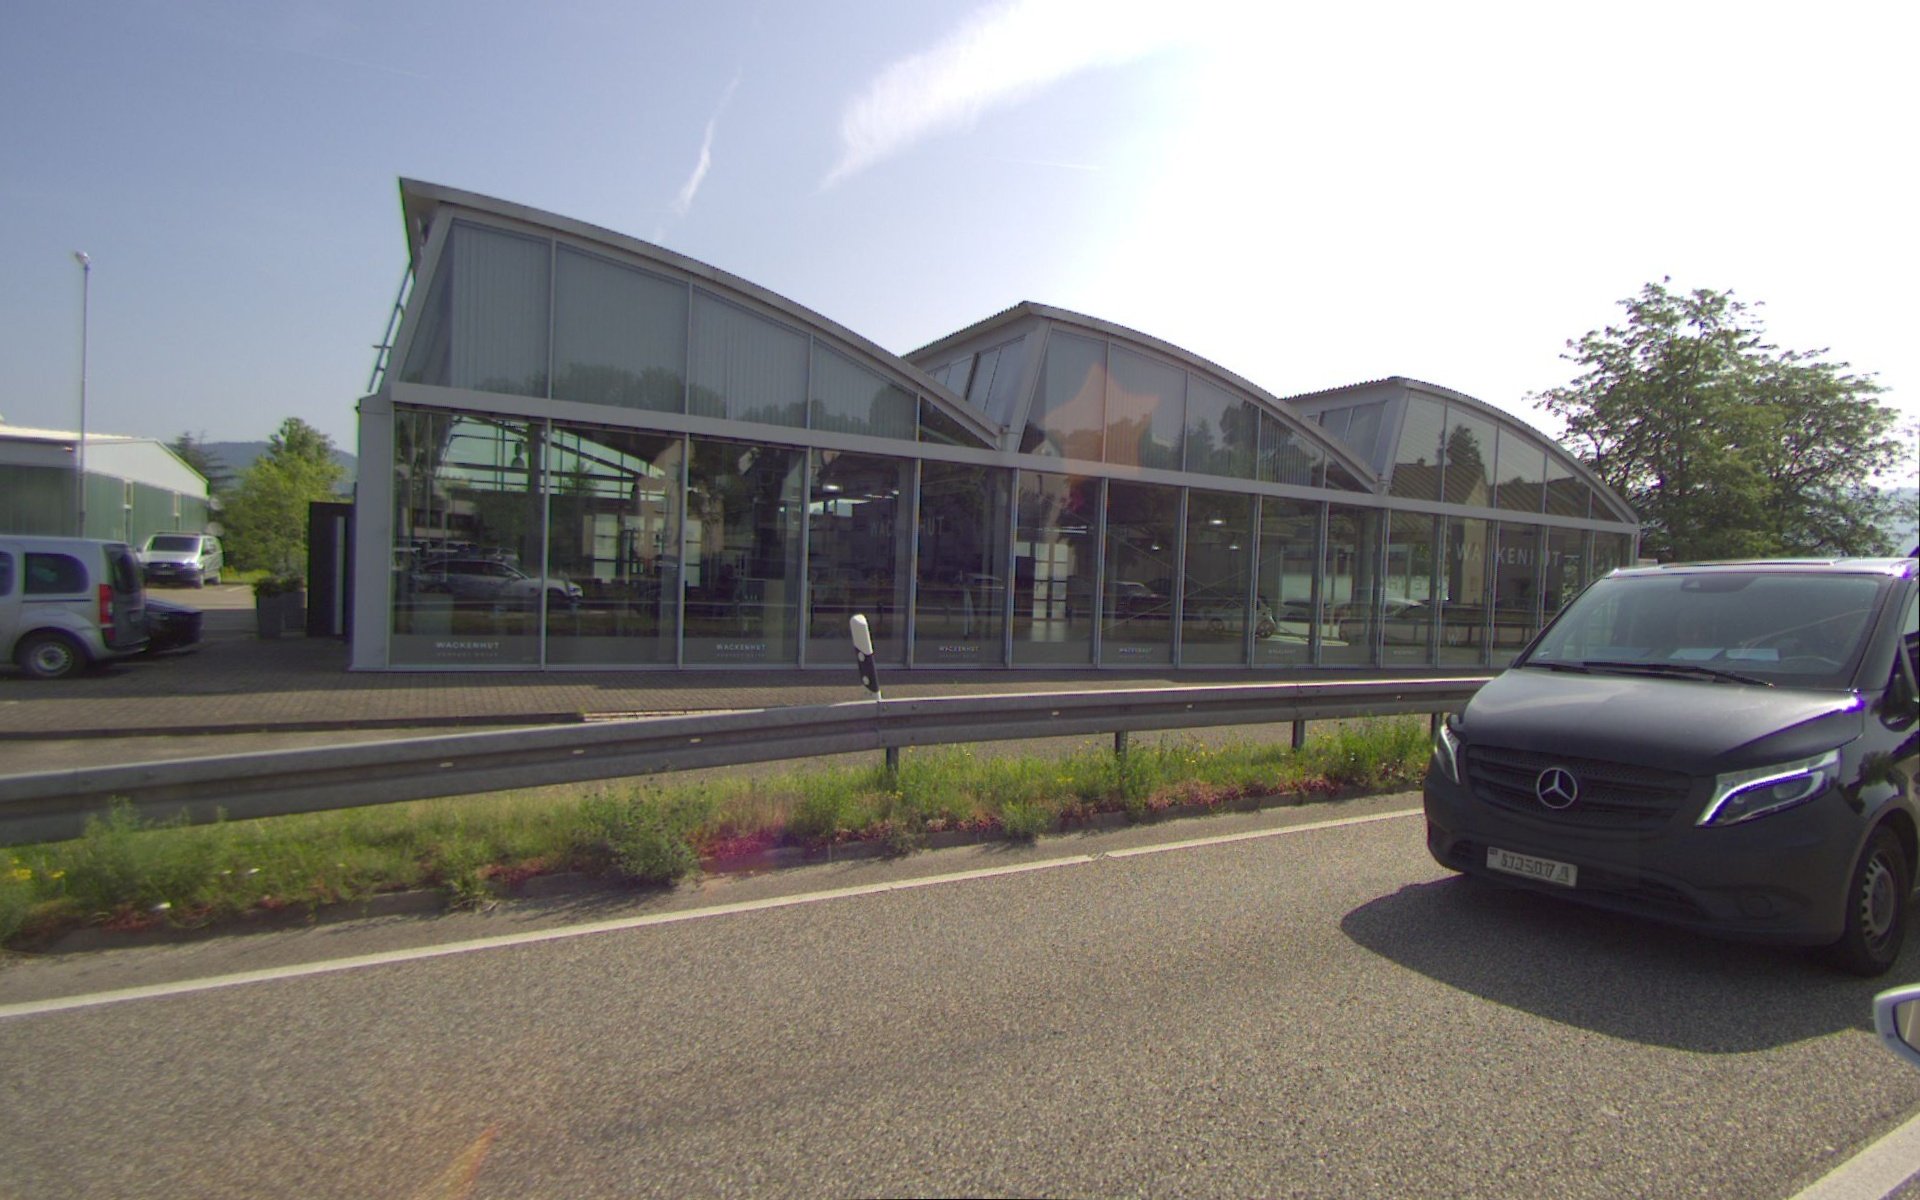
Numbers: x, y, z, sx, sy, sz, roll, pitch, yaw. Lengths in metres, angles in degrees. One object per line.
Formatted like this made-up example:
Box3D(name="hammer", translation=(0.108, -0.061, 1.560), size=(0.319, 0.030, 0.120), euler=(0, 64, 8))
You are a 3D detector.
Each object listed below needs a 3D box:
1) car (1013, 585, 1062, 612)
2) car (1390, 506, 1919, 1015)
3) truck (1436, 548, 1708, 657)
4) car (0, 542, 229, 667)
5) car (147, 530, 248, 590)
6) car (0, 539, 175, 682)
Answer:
Box3D(name="car", translation=(5.034, -0.096, 65.577), size=(1.703, 1.625, 3.984), euler=(3, -1, -18))
Box3D(name="car", translation=(4.887, 0.656, 5.847), size=(4.853, 1.910, 1.905), euler=(1, -1, -31))
Box3D(name="truck", translation=(22.440, 0.033, 37.292), size=(8.045, 3.604, 2.808), euler=(2, 1, 9))
Box3D(name="car", translation=(-13.801, 0.046, 14.624), size=(4.877, 1.736, 1.798), euler=(0, 1, -28))
Box3D(name="car", translation=(-28.401, -1.455, 37.580), size=(2.183, 2.050, 4.796), euler=(0, 1, -27))
Box3D(name="car", translation=(-12.776, 0.103, 12.574), size=(4.351, 1.736, 1.798), euler=(0, 1, -28))
